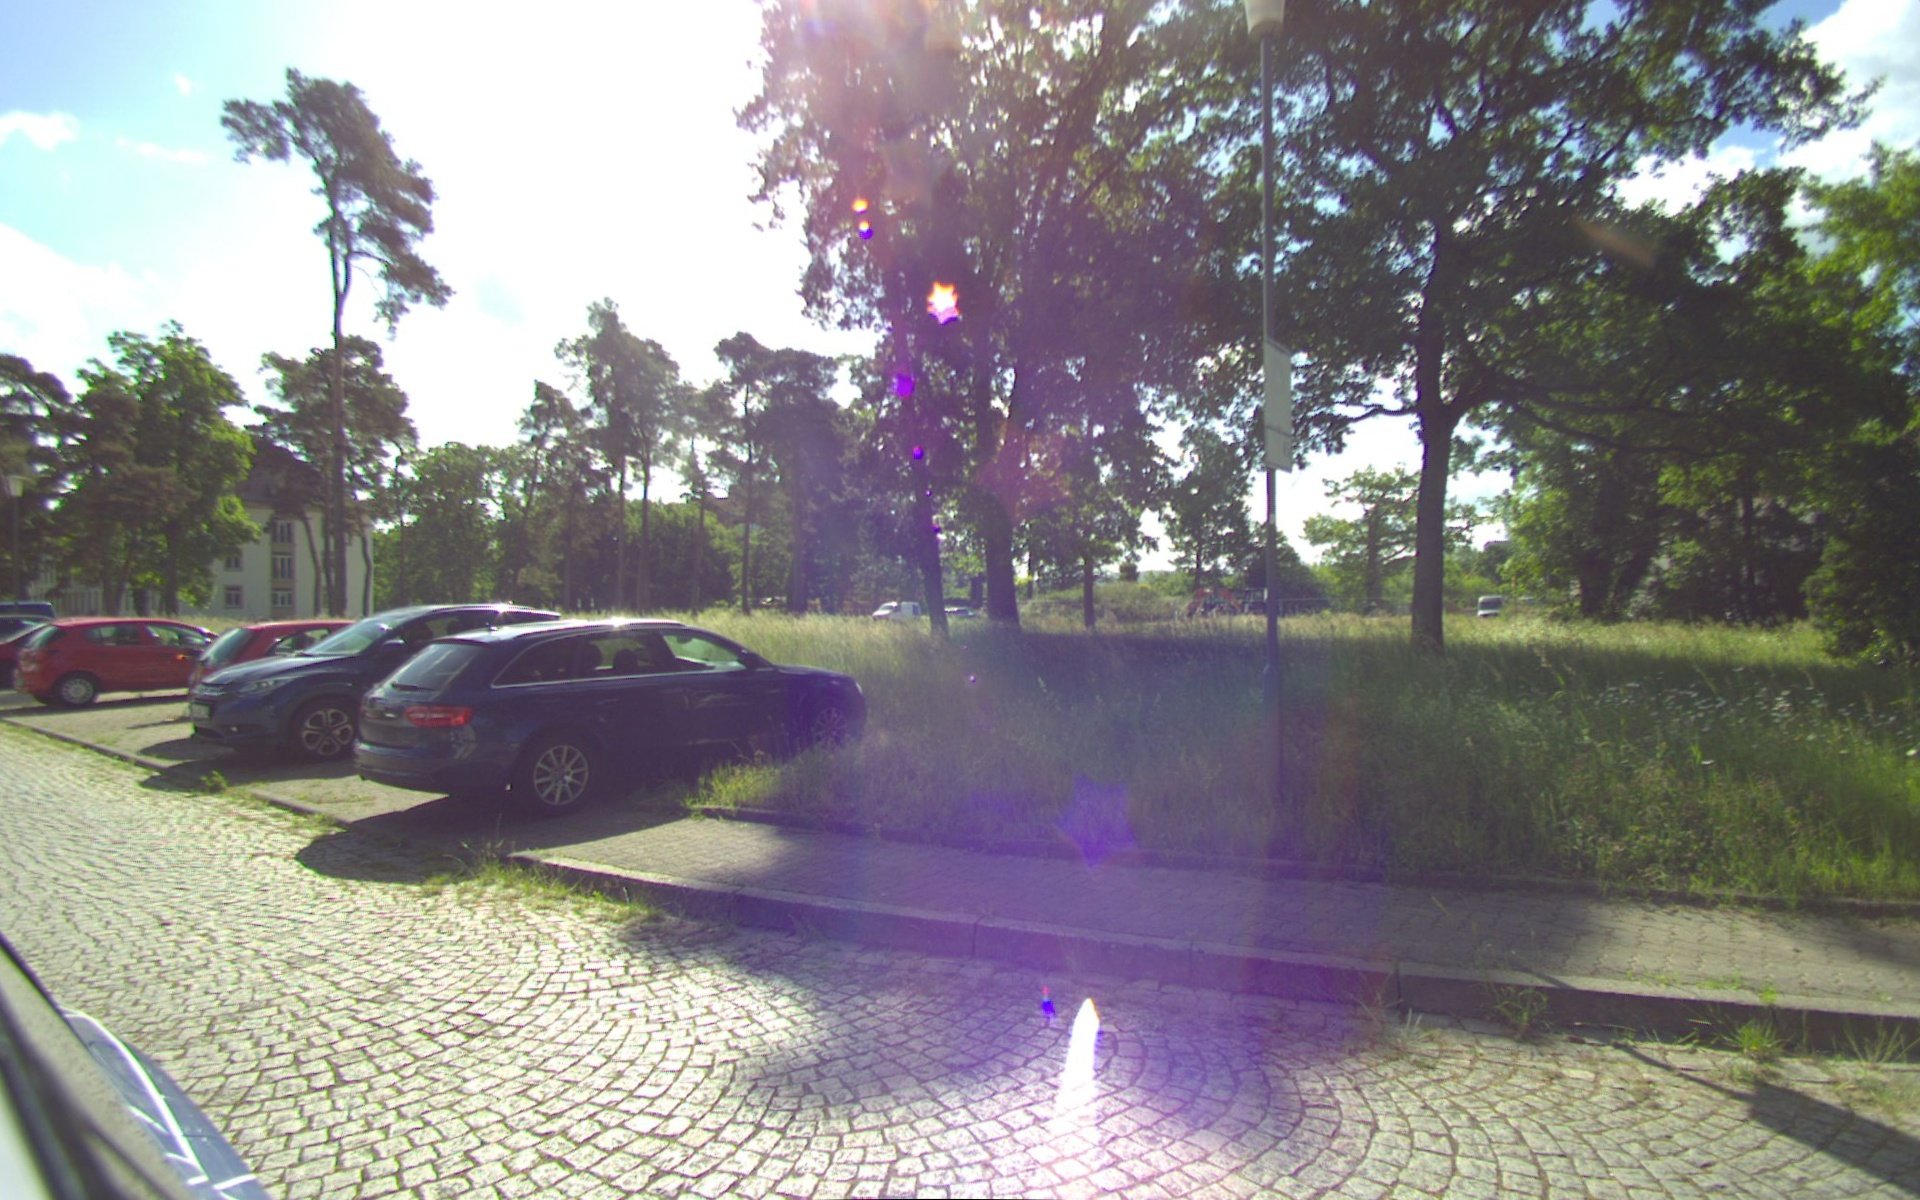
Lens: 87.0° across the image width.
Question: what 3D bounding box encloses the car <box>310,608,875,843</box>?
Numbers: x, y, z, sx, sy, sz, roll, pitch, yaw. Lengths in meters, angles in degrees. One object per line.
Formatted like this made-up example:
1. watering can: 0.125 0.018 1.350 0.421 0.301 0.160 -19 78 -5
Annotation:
1. car: -2.958 0.860 8.940 1.919 1.456 4.316 -2 0 40

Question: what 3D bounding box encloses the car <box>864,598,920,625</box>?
1. car: -5.600 0.927 83.869 1.954 2.180 4.799 -1 -1 38

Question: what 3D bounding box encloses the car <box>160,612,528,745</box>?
1. car: -8.209 0.940 13.779 1.840 1.443 3.886 -2 0 38

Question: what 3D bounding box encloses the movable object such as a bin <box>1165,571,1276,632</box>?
1. movable object such as a bin: 16.762 0.131 65.519 6.724 3.759 3.914 -1 -1 14

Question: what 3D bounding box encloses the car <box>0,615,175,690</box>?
1. car: -20.583 1.169 23.037 1.863 1.460 3.889 -2 1 35

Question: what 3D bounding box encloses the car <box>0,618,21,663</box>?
1. car: -33.991 1.421 33.383 1.821 1.486 4.158 -1 1 37

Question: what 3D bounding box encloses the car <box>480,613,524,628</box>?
1. car: -50.706 2.286 112.116 1.718 1.593 4.055 -1 -1 39

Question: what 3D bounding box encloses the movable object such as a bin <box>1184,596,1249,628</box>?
1. movable object such as a bin: 17.930 0.834 71.123 2.489 2.141 5.688 0 -1 -7

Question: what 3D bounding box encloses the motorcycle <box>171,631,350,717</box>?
1. motorcycle: -10.892 1.107 15.843 0.576 1.170 2.220 -1 0 38

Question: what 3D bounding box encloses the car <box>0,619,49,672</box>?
1. car: -28.076 1.335 28.128 1.679 1.451 3.784 -1 1 34

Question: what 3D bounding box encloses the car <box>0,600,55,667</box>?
1. car: -30.012 1.059 29.828 2.002 1.982 4.675 -1 1 37

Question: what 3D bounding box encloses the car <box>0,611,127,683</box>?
1. car: -22.920 1.148 24.468 1.970 1.579 3.919 -2 0 36

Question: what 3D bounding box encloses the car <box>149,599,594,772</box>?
1. car: -6.662 0.832 11.858 1.881 1.591 4.097 -2 0 37

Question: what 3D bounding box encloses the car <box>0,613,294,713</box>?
1. car: -14.633 1.047 18.336 1.838 1.472 3.889 -2 0 35

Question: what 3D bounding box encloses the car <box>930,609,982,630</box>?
1. car: -0.292 1.527 80.055 1.910 1.617 4.188 -1 -1 38

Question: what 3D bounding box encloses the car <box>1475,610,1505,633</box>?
1. car: 44.221 1.756 84.510 1.984 1.868 4.103 -1 -1 24
